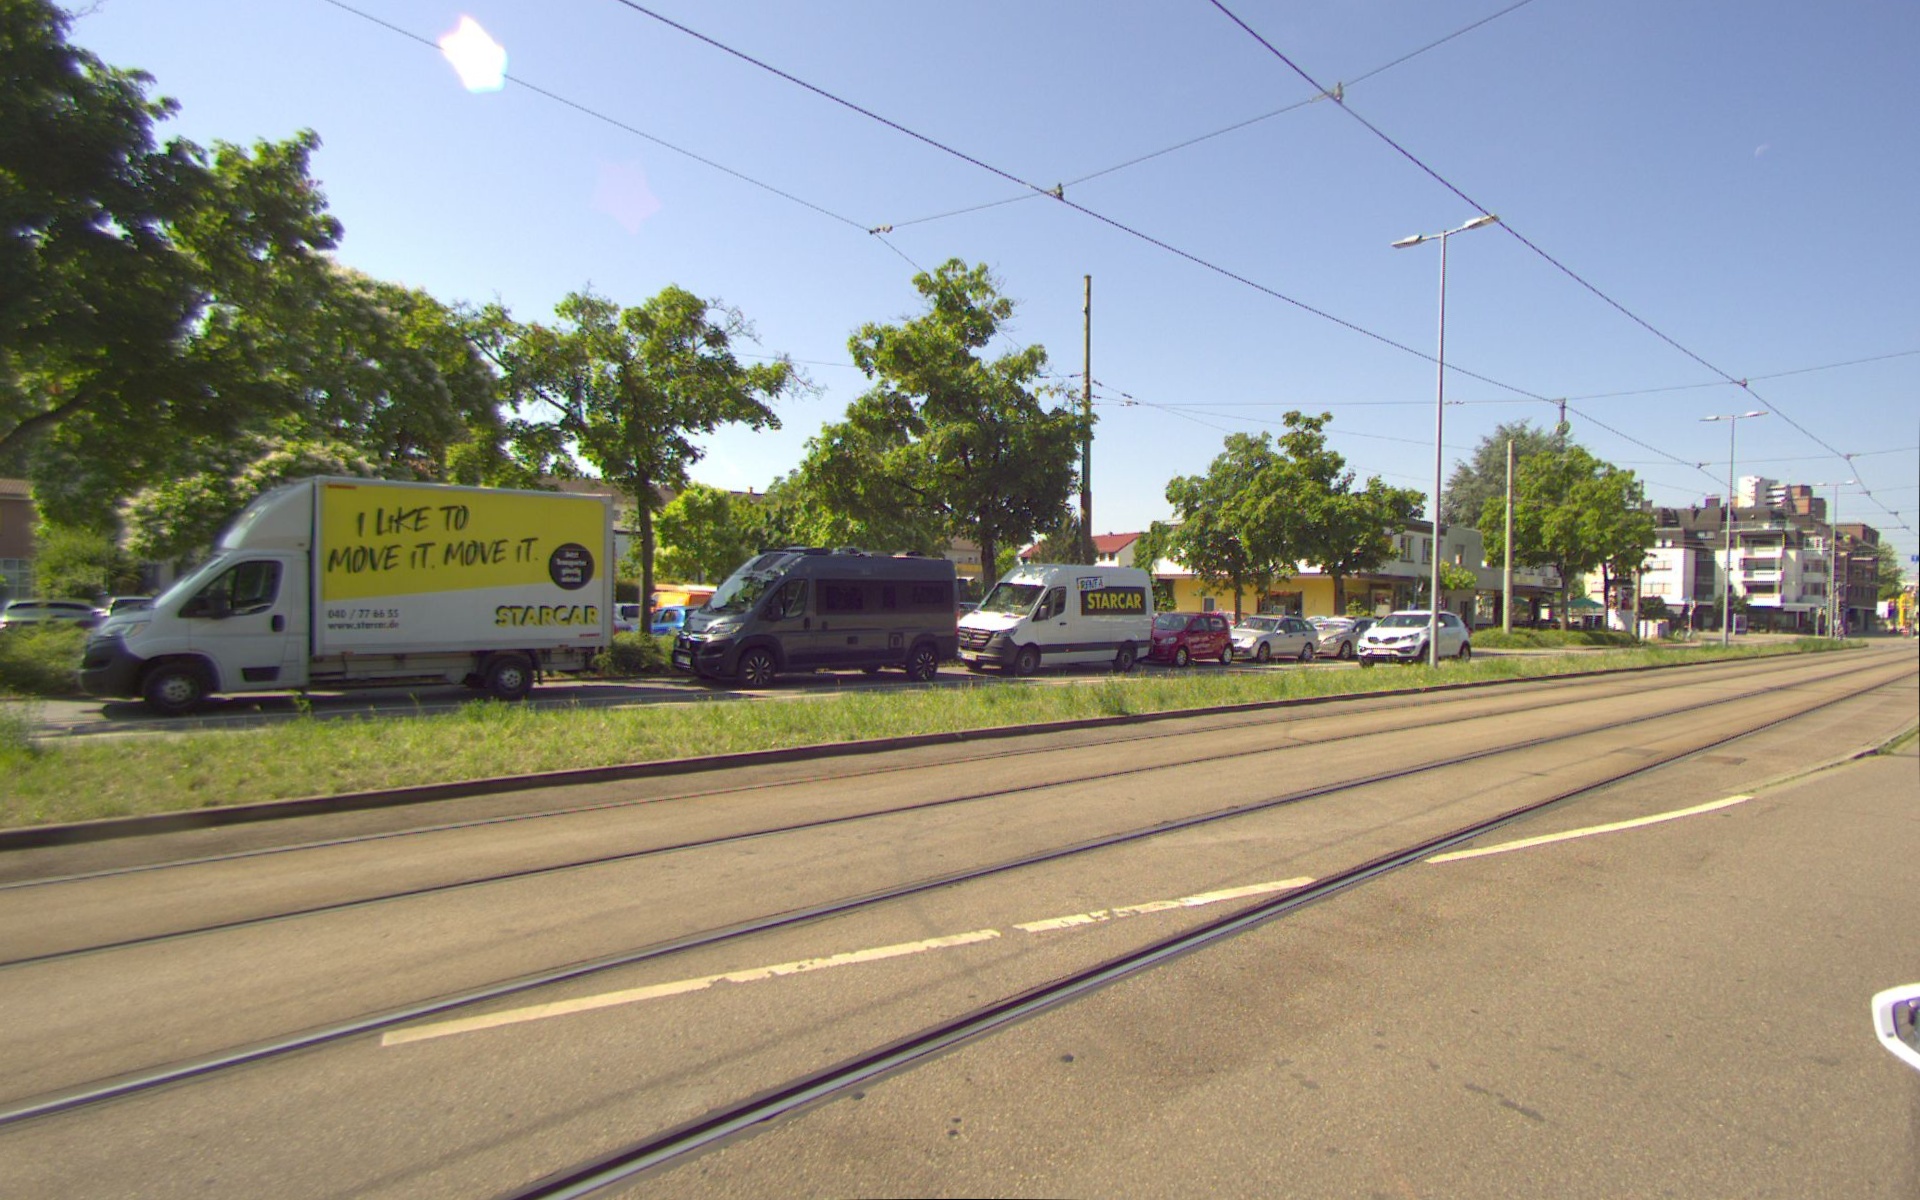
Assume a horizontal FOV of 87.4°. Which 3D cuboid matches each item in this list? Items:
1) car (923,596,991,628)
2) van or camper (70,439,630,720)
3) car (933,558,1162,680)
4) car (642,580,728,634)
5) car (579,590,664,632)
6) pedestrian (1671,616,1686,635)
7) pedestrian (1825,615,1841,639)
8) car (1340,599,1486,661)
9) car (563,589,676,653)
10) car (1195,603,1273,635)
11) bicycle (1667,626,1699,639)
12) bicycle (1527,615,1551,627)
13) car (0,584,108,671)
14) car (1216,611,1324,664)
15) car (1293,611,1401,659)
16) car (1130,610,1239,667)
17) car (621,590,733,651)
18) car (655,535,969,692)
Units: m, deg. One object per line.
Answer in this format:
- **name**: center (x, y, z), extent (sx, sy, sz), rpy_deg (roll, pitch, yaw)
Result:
- **car**: center (-0.245, 0.835, 72.151), extent (2.087, 2.203, 4.879), rpy_deg (1, -1, -45)
- **van or camper**: center (-8.571, -0.246, 14.785), extent (6.719, 3.285, 2.176), rpy_deg (1, 2, -42)
- **car**: center (2.296, 0.418, 24.912), extent (5.935, 2.666, 2.175), rpy_deg (1, 2, -43)
- **car**: center (-11.951, 0.275, 43.487), extent (3.946, 2.229, 1.899), rpy_deg (1, 0, 45)
- **car**: center (-14.058, 0.435, 41.623), extent (3.946, 1.674, 1.735), rpy_deg (0, 0, 45)
- **pedestrian**: center (58.214, 2.080, 81.389), extent (0.800, 1.507, 0.566), rpy_deg (1, 0, 1)
- **pedestrian**: center (65.198, 1.986, 75.014), extent (0.816, 1.762, 0.928), rpy_deg (1, 0, 40)
- **car**: center (12.908, 0.837, 28.514), extent (4.623, 1.618, 2.026), rpy_deg (1, -1, -41)
- **car**: center (-9.837, 0.567, 28.866), extent (1.651, 1.717, 3.950), rpy_deg (1, -1, -42)
- **car**: center (15.840, 1.072, 58.122), extent (1.684, 1.758, 4.110), rpy_deg (1, 0, -41)
- **bicycle**: center (58.200, 2.614, 80.821), extent (2.134, 0.934, 0.553), rpy_deg (1, 0, 1)
- **bicycle**: center (42.175, 1.526, 73.153), extent (2.373, 0.900, 0.776), rpy_deg (1, 0, -42)
- **car**: center (-18.240, 0.504, 20.136), extent (1.651, 1.564, 3.950), rpy_deg (1, -1, -42)
- **car**: center (9.937, 1.147, 32.051), extent (4.319, 1.510, 1.279), rpy_deg (1, 2, -43)
- **car**: center (13.749, 1.189, 35.593), extent (4.581, 1.510, 1.590), rpy_deg (1, 2, -41)
- **car**: center (6.470, 1.077, 28.741), extent (3.653, 1.510, 1.279), rpy_deg (2, -1, -45)
- **car**: center (-8.567, 0.578, 30.192), extent (1.651, 1.717, 3.950), rpy_deg (1, -1, -42)
- **car**: center (-2.783, 0.210, 20.161), extent (6.035, 2.704, 2.175), rpy_deg (1, 2, -43)
